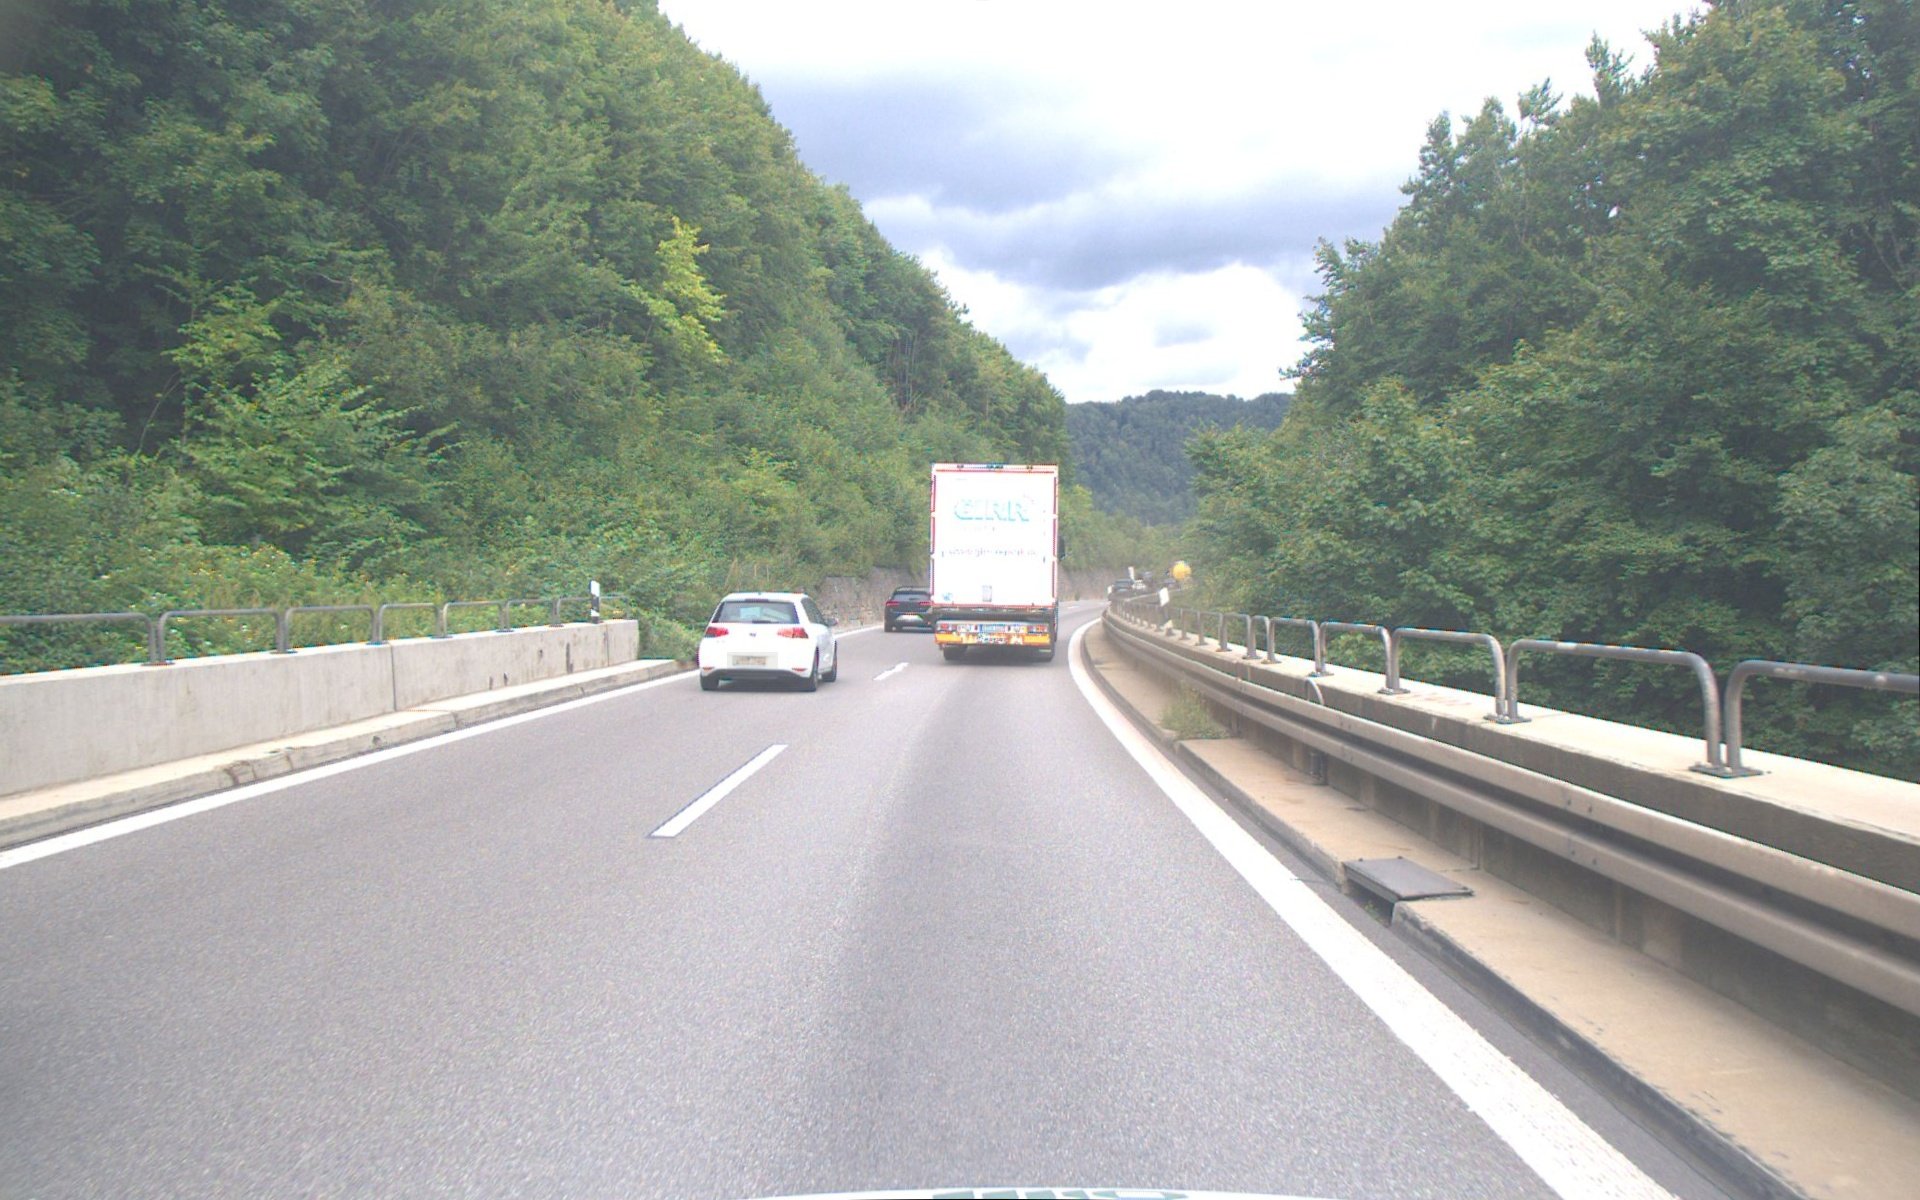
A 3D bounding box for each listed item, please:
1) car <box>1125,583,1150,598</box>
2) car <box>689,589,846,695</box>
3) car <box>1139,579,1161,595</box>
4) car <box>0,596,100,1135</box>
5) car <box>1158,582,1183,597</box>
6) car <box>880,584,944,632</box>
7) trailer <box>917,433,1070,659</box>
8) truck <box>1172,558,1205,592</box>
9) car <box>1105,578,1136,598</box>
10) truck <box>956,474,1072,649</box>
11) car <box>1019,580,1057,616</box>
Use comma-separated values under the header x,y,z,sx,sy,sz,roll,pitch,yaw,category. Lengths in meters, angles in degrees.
x,y,z,sx,sy,sz,roll,pitch,yaw,category
18.268,-0.940,170.012,1.951,1.512,4.003,0,0,15,car
-2.906,0.588,25.955,1.807,1.507,4.629,0,0,1,car
21.522,-1.468,187.336,1.951,1.814,4.003,0,0,16,car
-3.480,0.724,2.496,1.791,1.482,5.133,0,0,-2,car
21.153,-1.018,165.926,1.951,1.512,4.003,0,0,15,car
-1.519,0.276,54.075,1.736,1.486,4.583,0,0,3,car
1.061,-0.997,38.589,2.754,4.378,12.251,-1,-1,5,trailer
28.950,-3.129,208.992,2.455,3.926,8.137,-1,-1,20,truck
13.611,-0.998,140.160,1.951,1.593,4.002,-1,-1,16,car
1.574,-0.951,45.028,2.754,4.378,6.262,-1,-1,5,truck
4.686,-0.121,98.915,1.951,2.049,4.003,-1,-1,7,car
